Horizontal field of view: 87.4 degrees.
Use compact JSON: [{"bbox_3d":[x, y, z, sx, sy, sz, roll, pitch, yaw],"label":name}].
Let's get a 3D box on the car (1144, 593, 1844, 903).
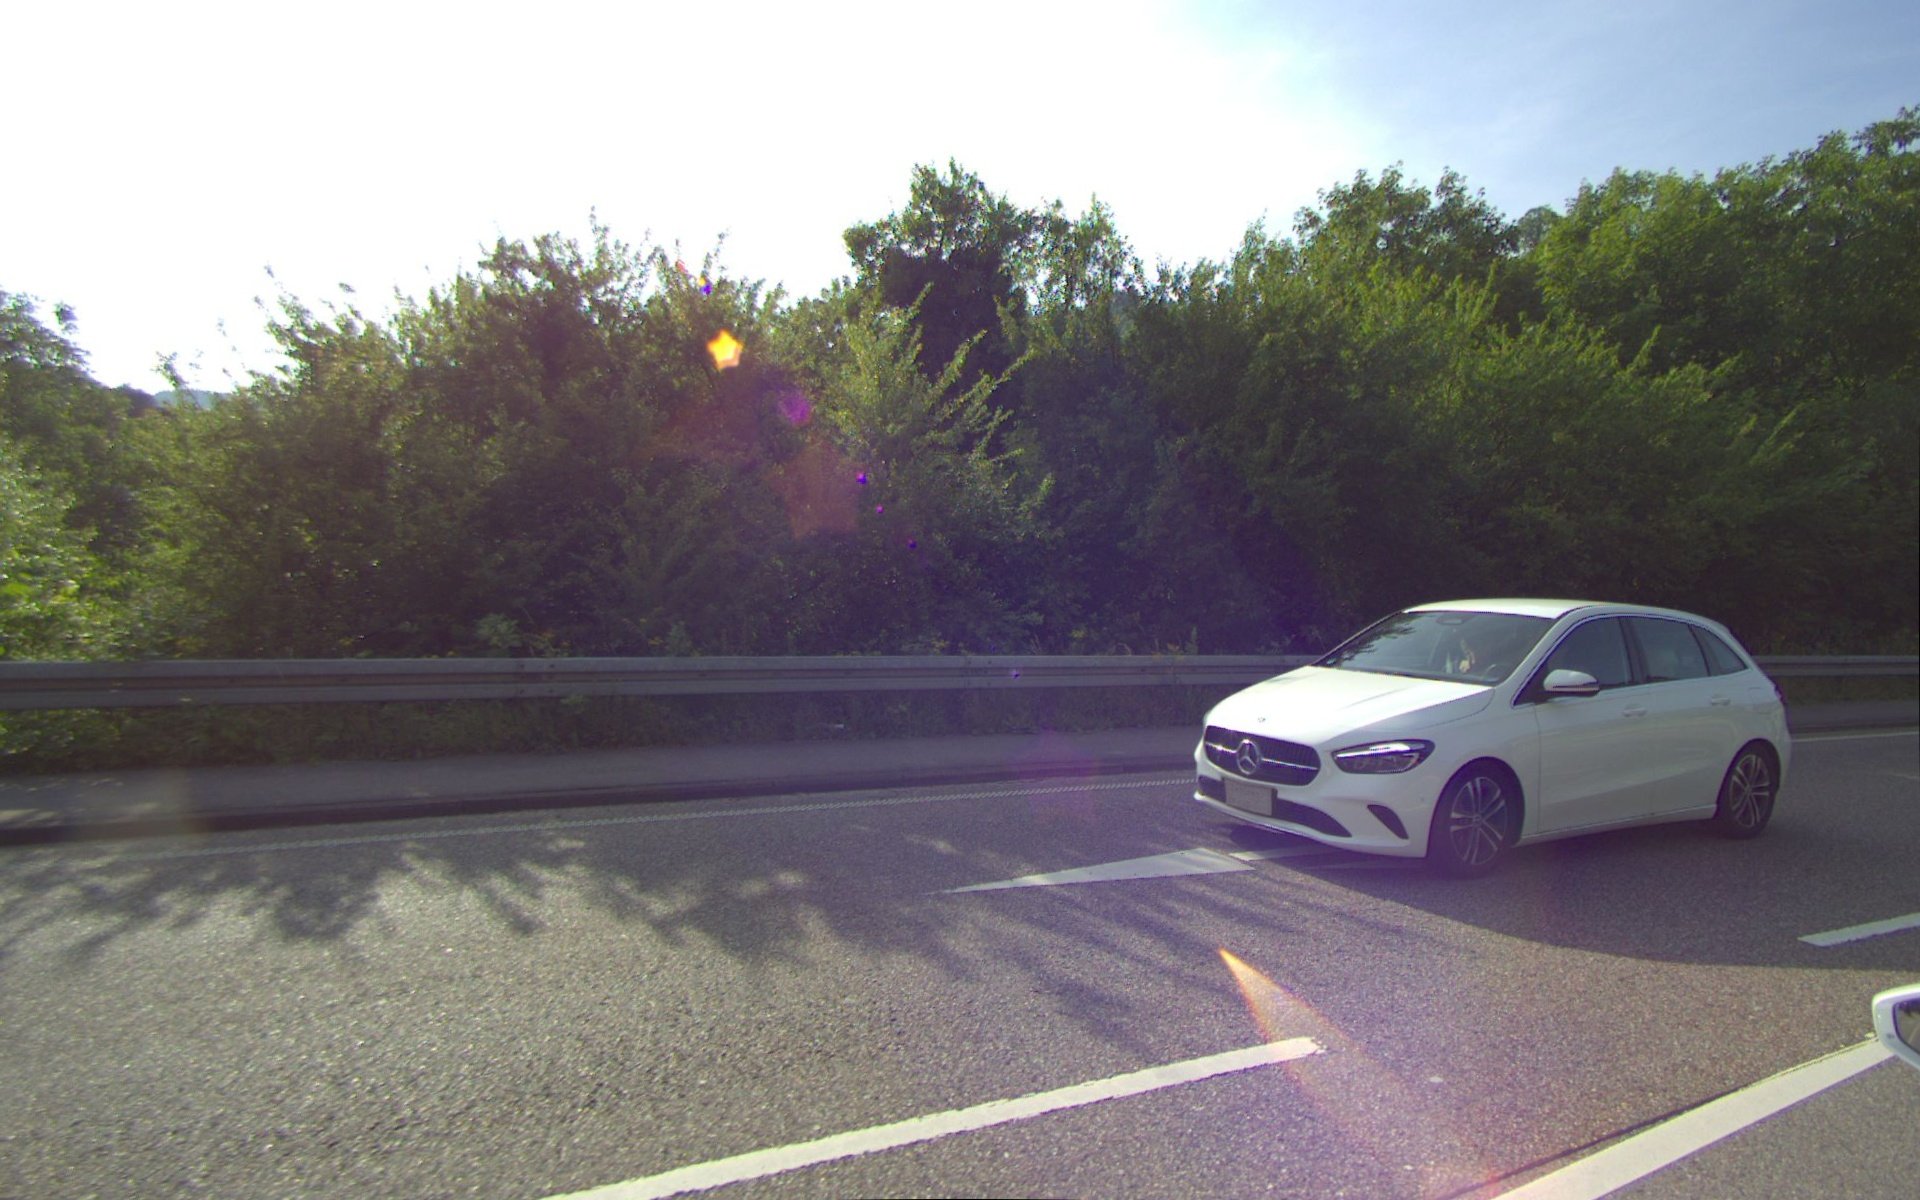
[{"bbox_3d":[3.680,0.758,6.828,4.525,1.506,1.938,1,1,-27],"label":"car"}]
